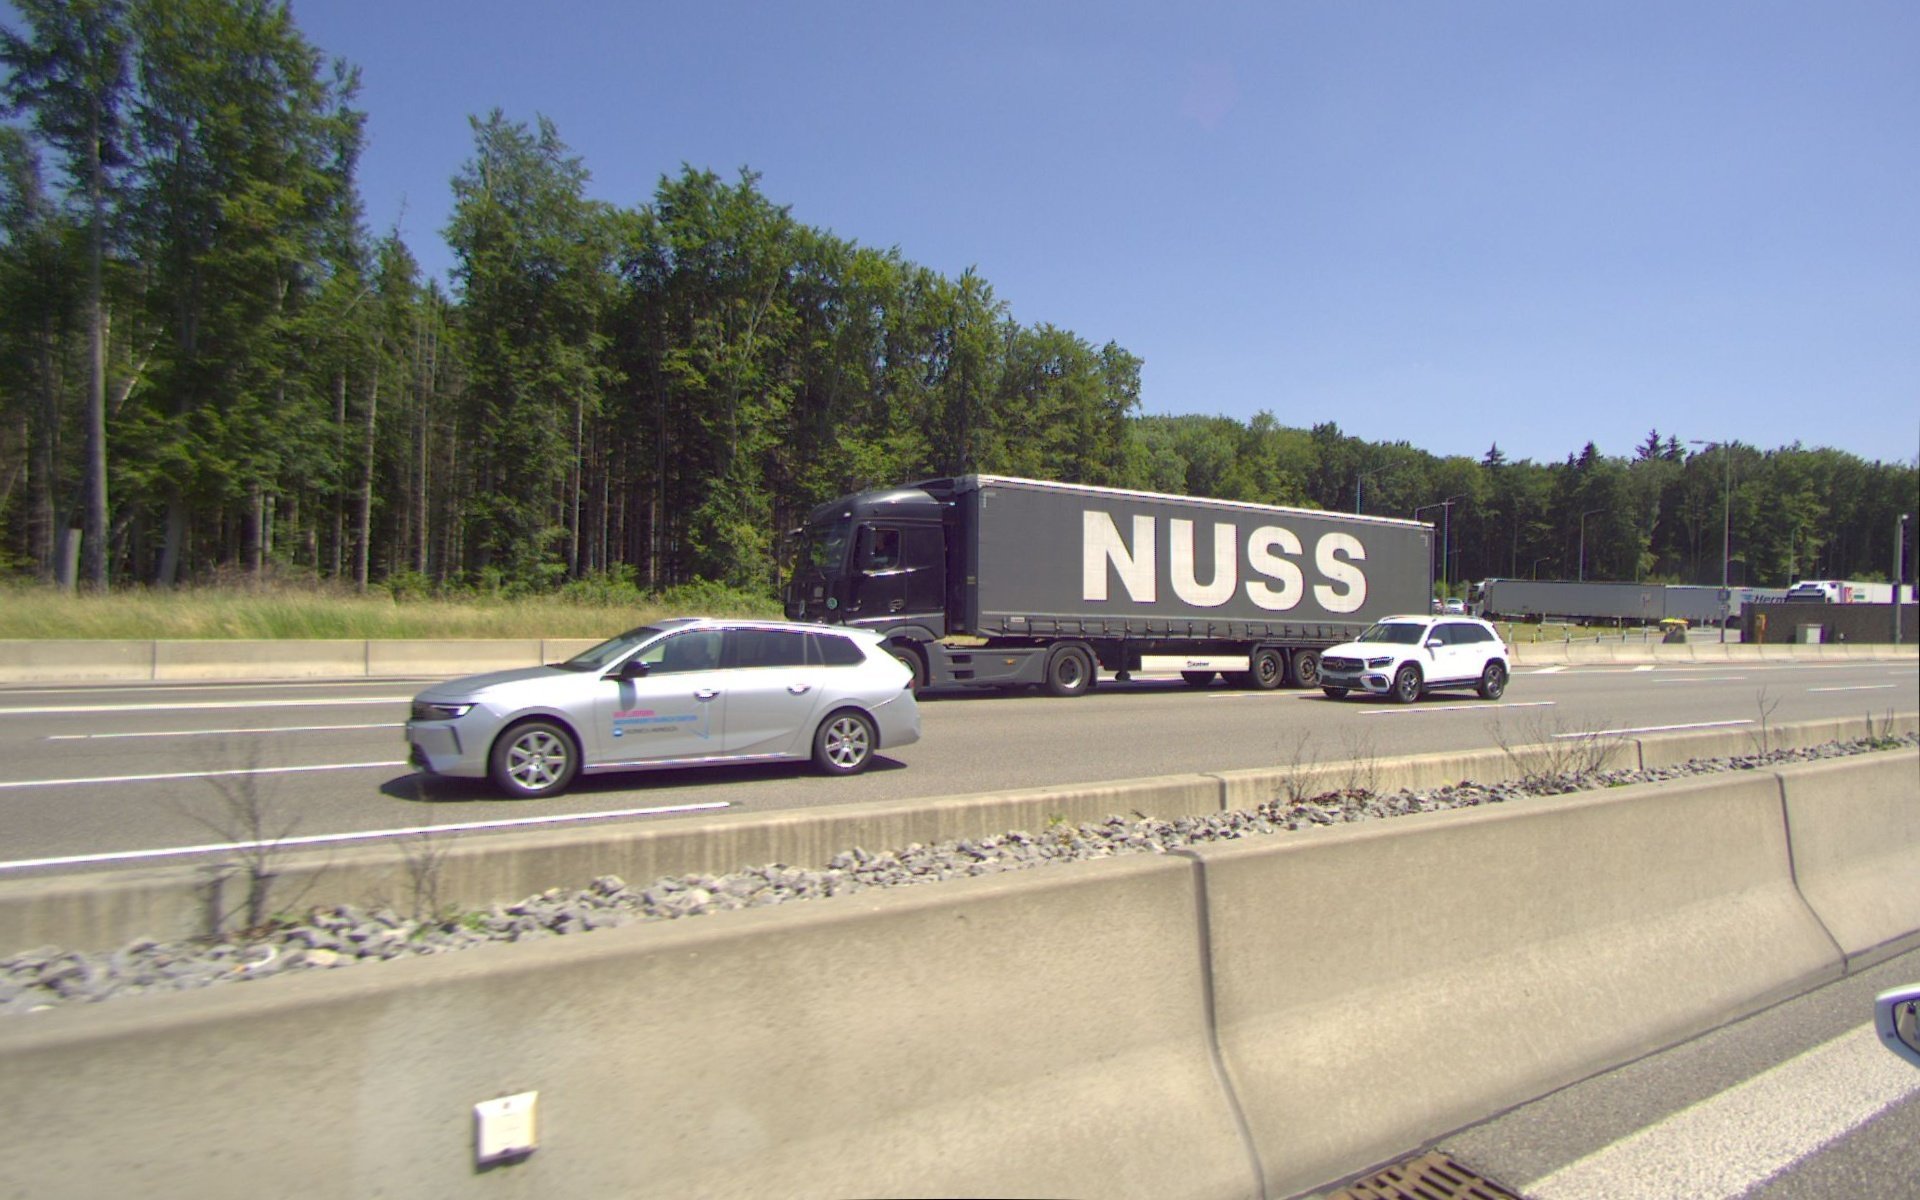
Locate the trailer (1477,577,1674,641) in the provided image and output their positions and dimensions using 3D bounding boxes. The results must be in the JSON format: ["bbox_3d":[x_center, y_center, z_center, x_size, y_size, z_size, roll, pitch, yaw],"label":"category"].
[{"bbox_3d":[53.690,0.744,88.128,14.272,5.140,3.131,1,0,15],"label":"trailer"}]

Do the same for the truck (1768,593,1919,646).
[{"bbox_3d":[103.166,2.236,115.052,16.373,5.687,3.452,1,0,15],"label":"truck"}]

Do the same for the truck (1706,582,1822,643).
[{"bbox_3d":[79.546,1.226,99.569,8.317,5.687,3.230,1,0,14],"label":"truck"}]

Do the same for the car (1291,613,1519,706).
[{"bbox_3d":[9.118,1.167,20.494,4.558,1.692,1.984,2,-1,-31],"label":"car"}]

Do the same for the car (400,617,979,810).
[{"bbox_3d":[-2.448,0.916,9.505,4.951,1.395,1.984,2,-1,-30],"label":"car"}]

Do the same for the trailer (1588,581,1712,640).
[{"bbox_3d":[69.941,1.025,102.048,9.739,5.687,3.230,1,0,14],"label":"trailer"}]

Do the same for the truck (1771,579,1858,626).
[{"bbox_3d":[61.539,0.212,72.309,6.131,3.165,2.912,2,0,-31],"label":"truck"}]

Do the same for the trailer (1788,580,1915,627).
[{"bbox_3d":[67.536,0.335,75.921,14.441,3.165,2.957,2,0,-31],"label":"trailer"}]

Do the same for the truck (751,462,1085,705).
[{"bbox_3d":[-0.807,-0.211,19.261,5.475,3.983,3.271,1,0,-31],"label":"truck"}]

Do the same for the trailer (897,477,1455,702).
[{"bbox_3d":[5.589,-0.019,23.155,14.113,4.054,3.326,2,-1,-31],"label":"trailer"}]

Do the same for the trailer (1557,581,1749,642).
[{"bbox_3d":[63.769,1.043,92.875,14.272,5.140,3.225,1,0,15],"label":"trailer"}]
